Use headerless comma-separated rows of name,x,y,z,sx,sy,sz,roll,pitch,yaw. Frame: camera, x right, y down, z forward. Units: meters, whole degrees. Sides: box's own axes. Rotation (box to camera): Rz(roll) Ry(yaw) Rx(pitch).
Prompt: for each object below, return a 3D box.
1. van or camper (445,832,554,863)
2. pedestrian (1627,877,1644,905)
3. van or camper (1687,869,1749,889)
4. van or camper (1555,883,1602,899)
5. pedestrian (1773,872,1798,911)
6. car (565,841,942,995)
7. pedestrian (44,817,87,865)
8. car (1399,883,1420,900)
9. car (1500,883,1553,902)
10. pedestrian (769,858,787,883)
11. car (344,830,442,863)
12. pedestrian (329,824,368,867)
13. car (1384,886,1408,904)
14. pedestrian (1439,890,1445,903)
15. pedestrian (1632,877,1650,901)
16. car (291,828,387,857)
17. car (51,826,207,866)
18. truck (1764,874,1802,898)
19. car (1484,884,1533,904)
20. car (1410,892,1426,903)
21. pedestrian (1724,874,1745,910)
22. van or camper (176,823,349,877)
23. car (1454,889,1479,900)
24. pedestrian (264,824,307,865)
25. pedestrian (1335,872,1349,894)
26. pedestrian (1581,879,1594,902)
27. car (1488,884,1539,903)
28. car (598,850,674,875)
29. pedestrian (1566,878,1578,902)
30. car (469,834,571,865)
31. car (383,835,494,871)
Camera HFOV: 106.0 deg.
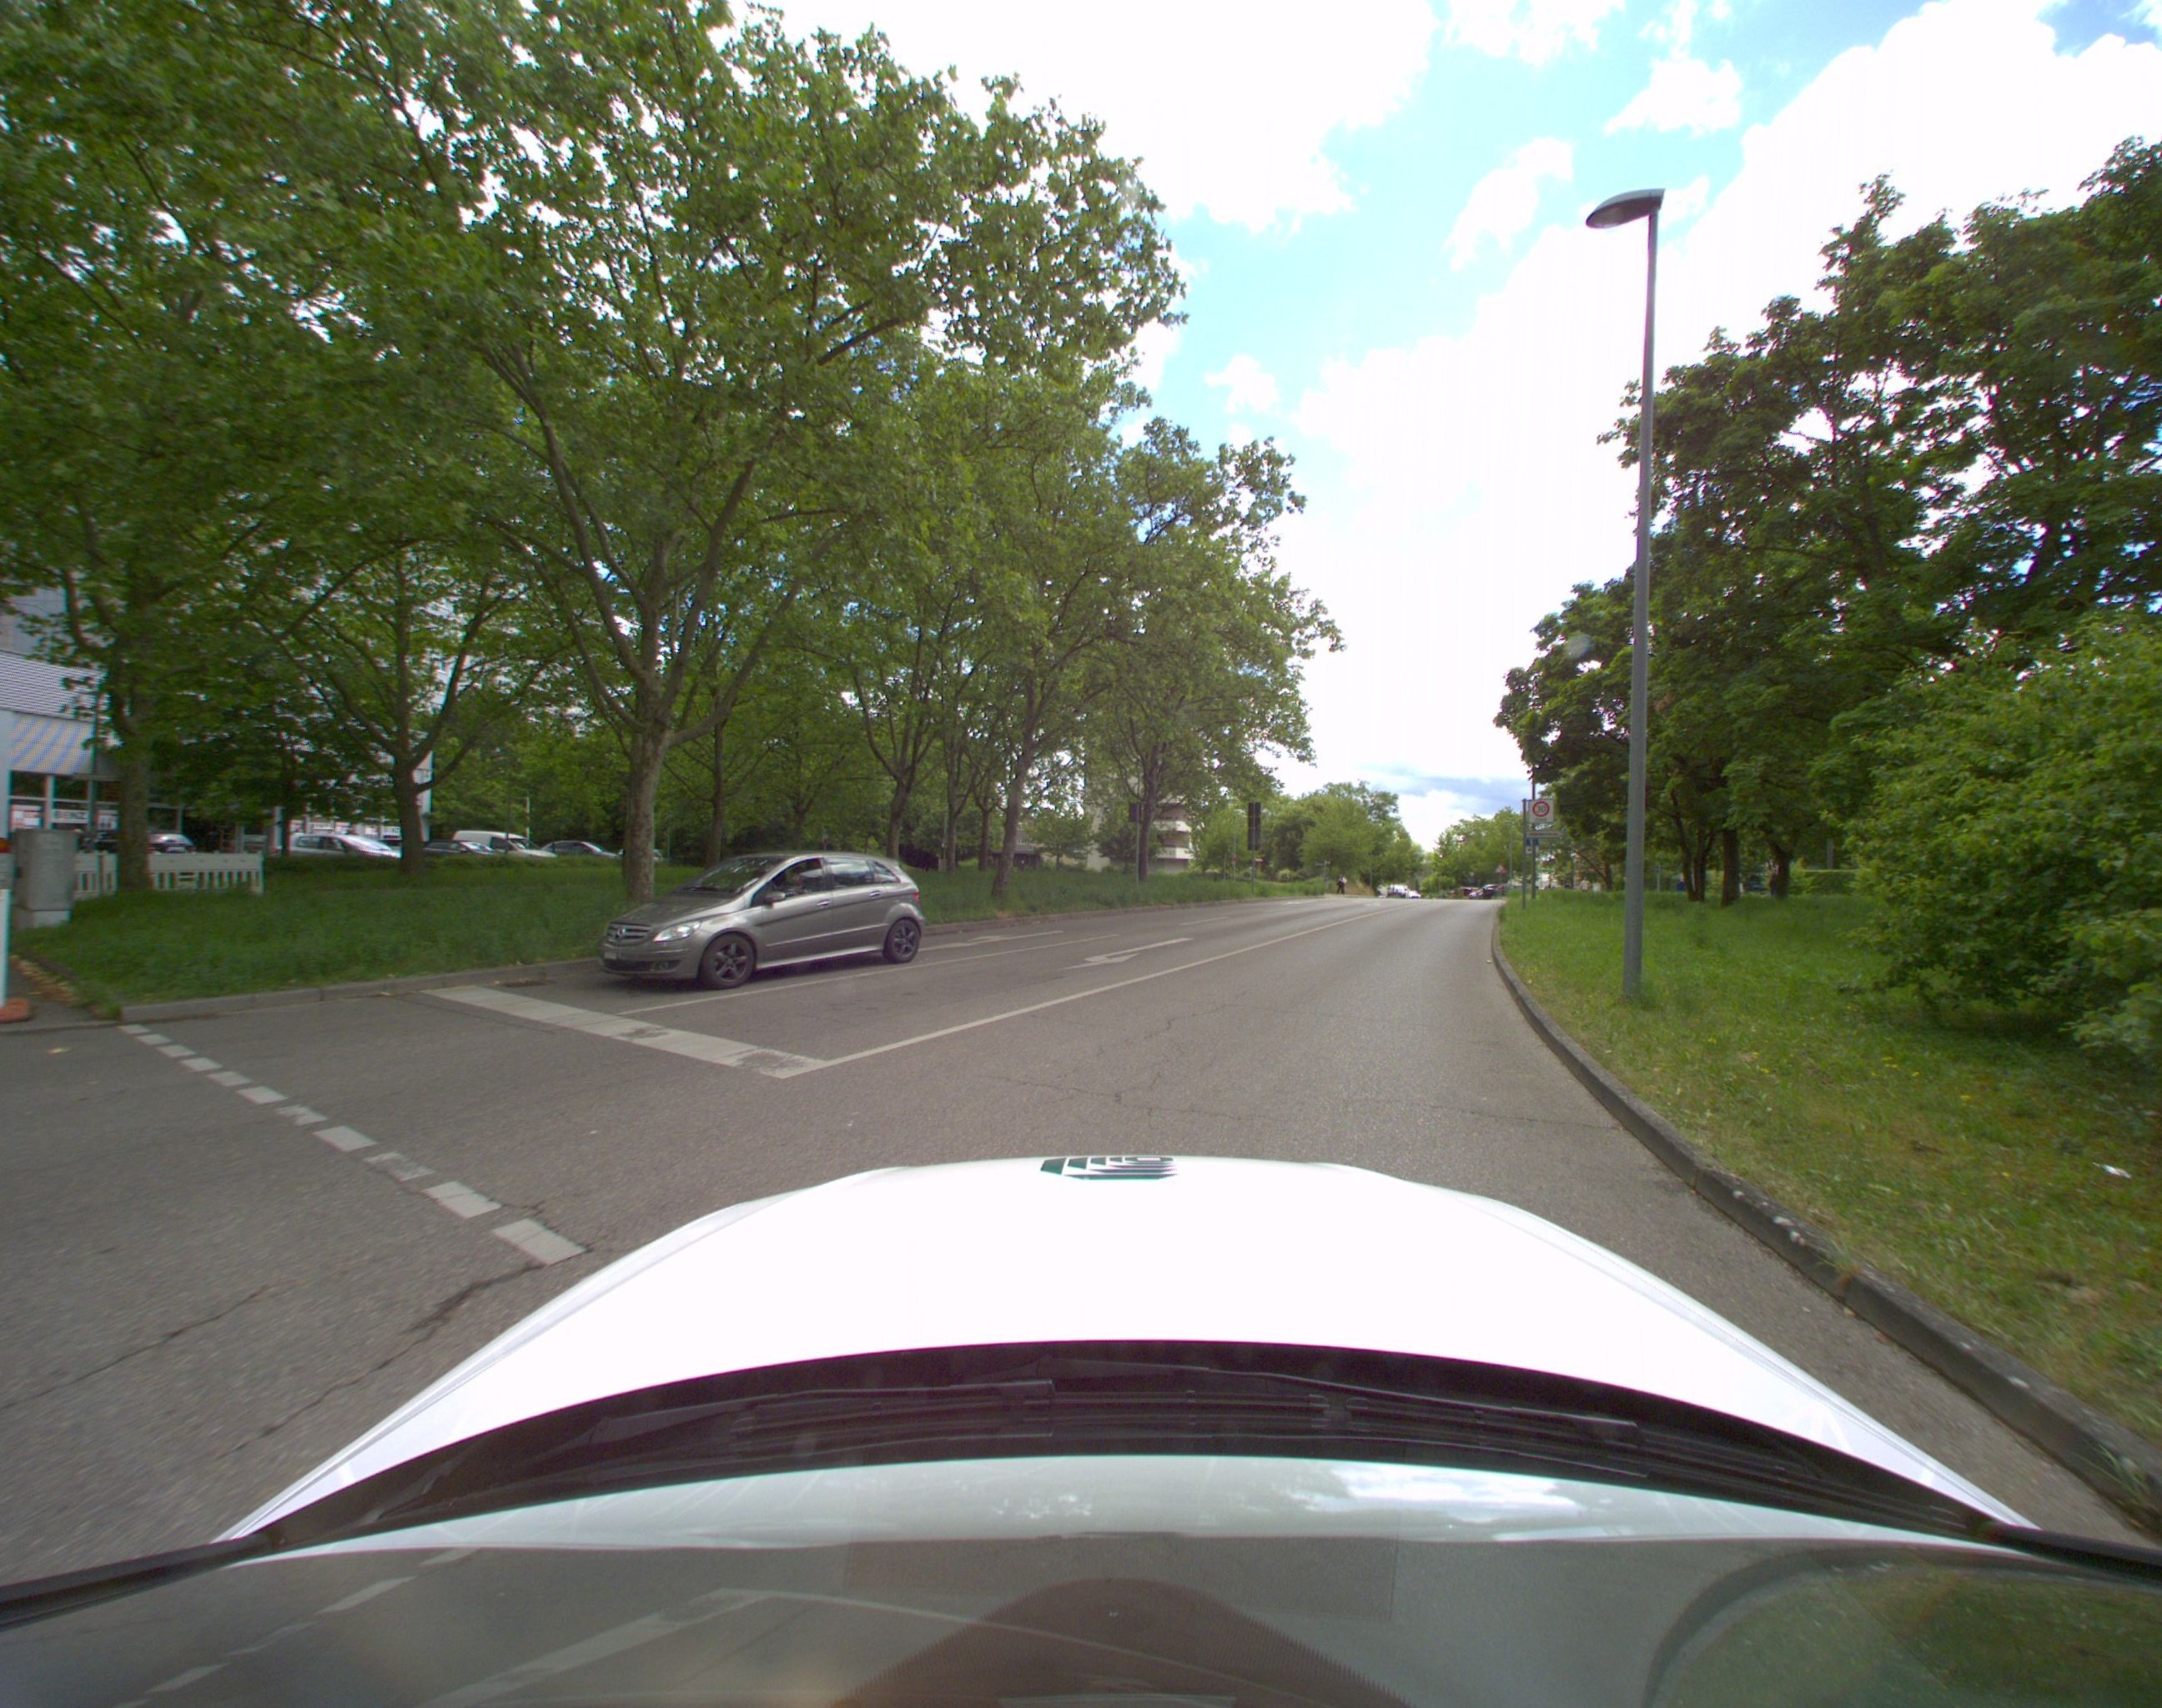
van or camper,-26.089,-0.267,36.586,3.751,1.356,1.517,0,-1,-1
pedestrian,32.731,2.187,48.100,0.767,1.596,0.828,-1,-1,39
van or camper,65.295,2.545,83.536,1.777,1.914,4.641,0,-1,-32
van or camper,68.461,5.043,112.146,5.245,2.042,2.072,0,-1,24
pedestrian,32.250,1.696,37.267,0.827,1.723,0.767,1,-1,-42
car,-3.994,0.685,10.772,1.750,1.586,4.439,0,-1,31
pedestrian,-37.149,-0.458,29.796,0.735,1.745,0.620,0,-1,0
car,34.373,3.903,85.233,1.749,1.753,3.957,0,-3,26
car,37.716,3.254,68.929,3.885,1.469,1.781,0,-5,29
pedestrian,-23.932,1.296,64.384,0.981,1.951,1.083,2,-2,-4
car,-36.932,-0.400,43.765,3.794,1.634,1.674,1,-1,2
pedestrian,-27.528,-0.317,30.609,0.789,1.586,0.800,0,-1,24
car,29.277,3.776,75.593,1.749,1.500,3.957,0,-2,26
pedestrian,55.454,6.558,125.199,0.715,1.865,0.653,0,-1,18
pedestrian,40.651,2.547,59.126,0.825,1.694,0.770,1,-1,-26
car,-36.988,-0.569,40.633,3.385,1.404,1.485,0,-1,1
car,-36.353,-0.287,31.147,4.233,1.500,1.737,0,-1,6
truck,72.960,3.278,84.631,5.927,2.296,2.306,1,-1,-43
car,38.864,3.642,73.980,3.885,1.631,1.781,0,-5,29
car,48.959,6.294,118.435,1.958,1.464,3.953,0,-3,19
pedestrian,32.340,1.865,40.280,0.767,1.723,0.828,0,-1,41
van or camper,-26.829,-0.134,26.771,3.968,1.684,1.849,1,0,5
car,62.786,6.572,132.579,3.510,1.654,1.629,1,-2,21
pedestrian,-36.979,-0.421,37.867,1.047,1.871,1.081,0,-1,21
pedestrian,20.837,2.323,64.957,0.818,1.723,0.776,1,-1,-2
pedestrian,38.310,2.734,61.639,0.793,1.723,0.828,0,-1,30
car,37.892,3.438,71.393,3.885,1.501,1.781,0,-5,29
car,-27.280,0.511,49.972,3.714,1.500,1.737,0,-1,6
pedestrian,37.295,2.728,61.866,0.767,1.723,0.828,0,-1,32
car,-26.955,-0.188,39.171,3.865,1.465,1.485,0,-1,1
car,-26.157,-0.036,33.210,3.383,1.404,1.486,0,-1,3
